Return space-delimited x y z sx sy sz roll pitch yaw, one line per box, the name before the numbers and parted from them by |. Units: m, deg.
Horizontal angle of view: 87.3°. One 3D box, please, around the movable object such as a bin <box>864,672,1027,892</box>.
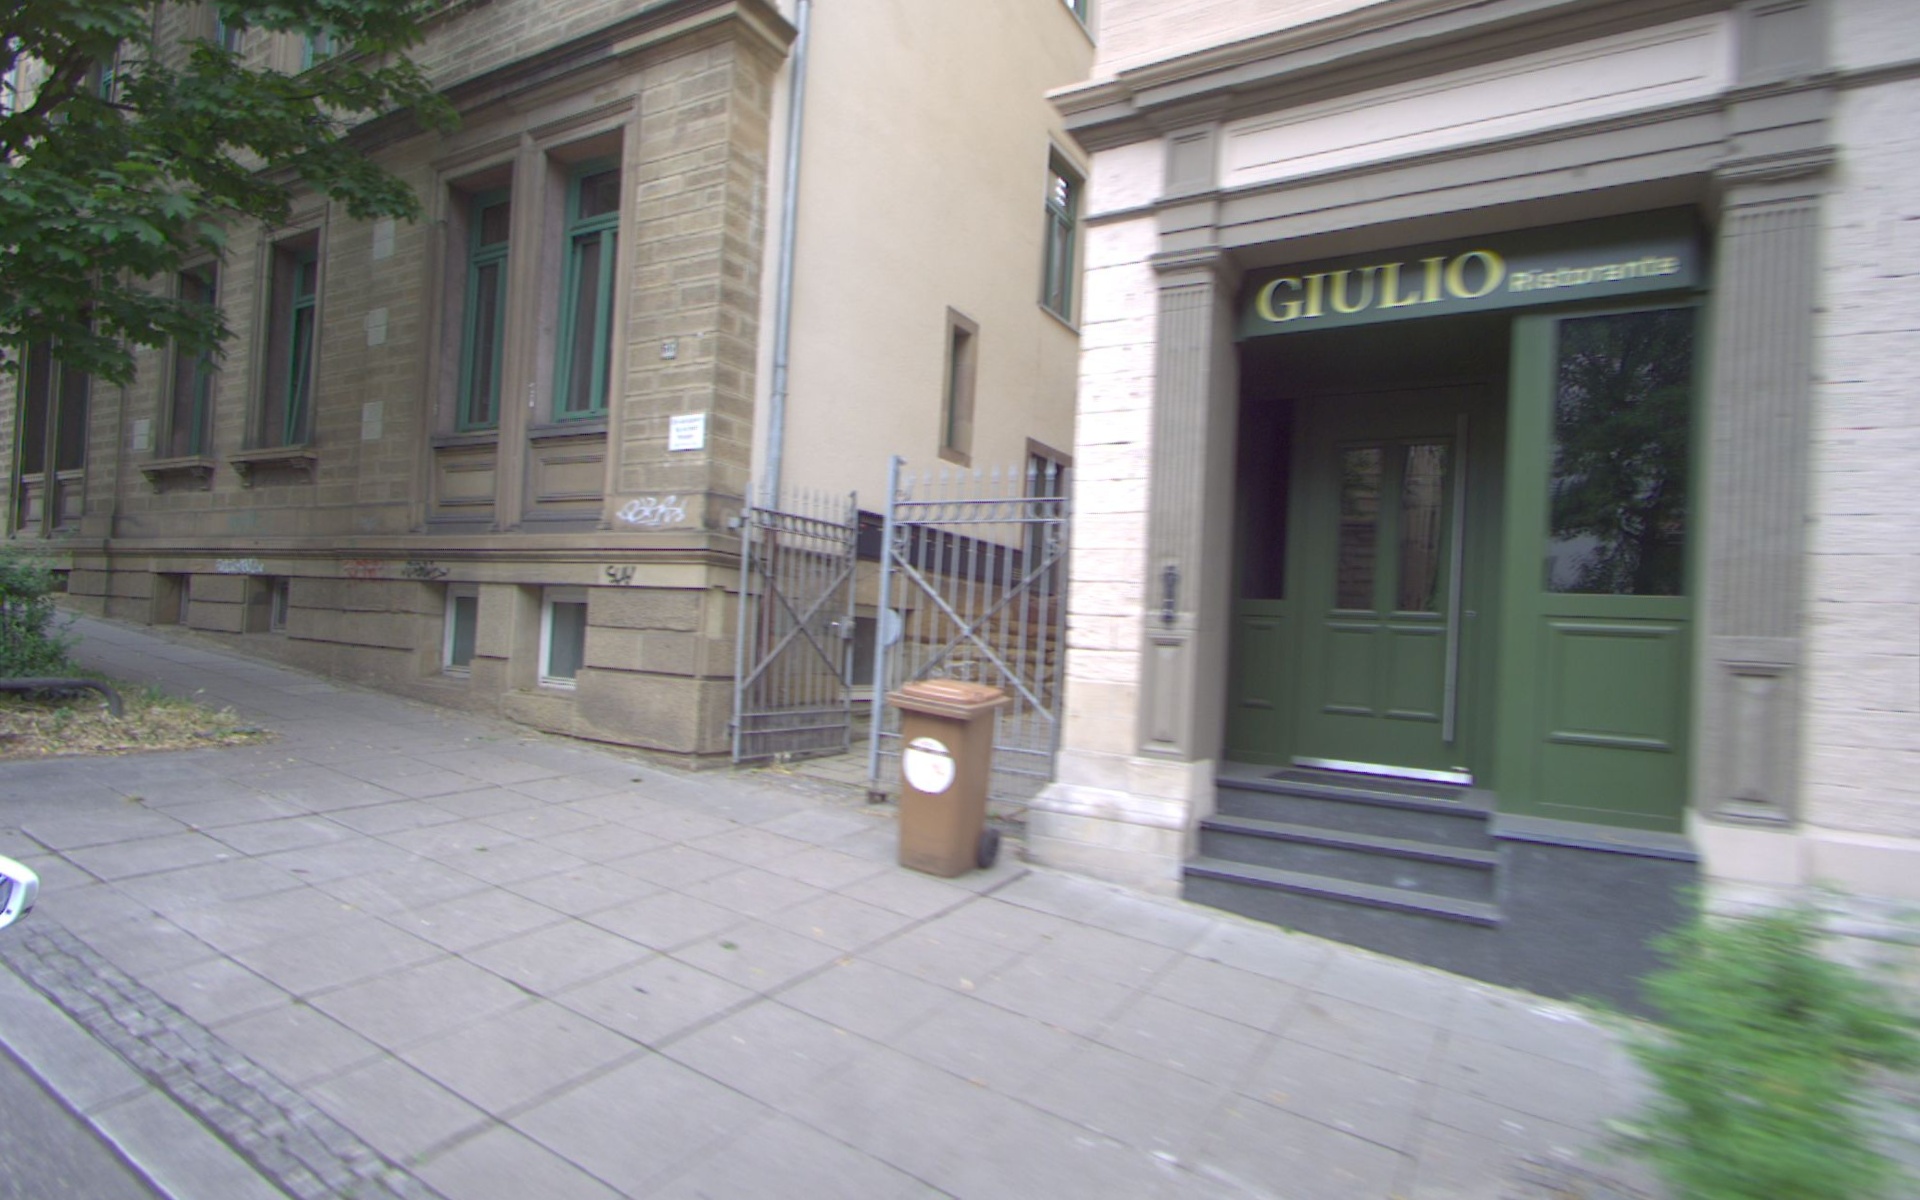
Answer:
movable object such as a bin | -0.069 0.867 5.011 0.506 0.946 0.560 7 4 38
